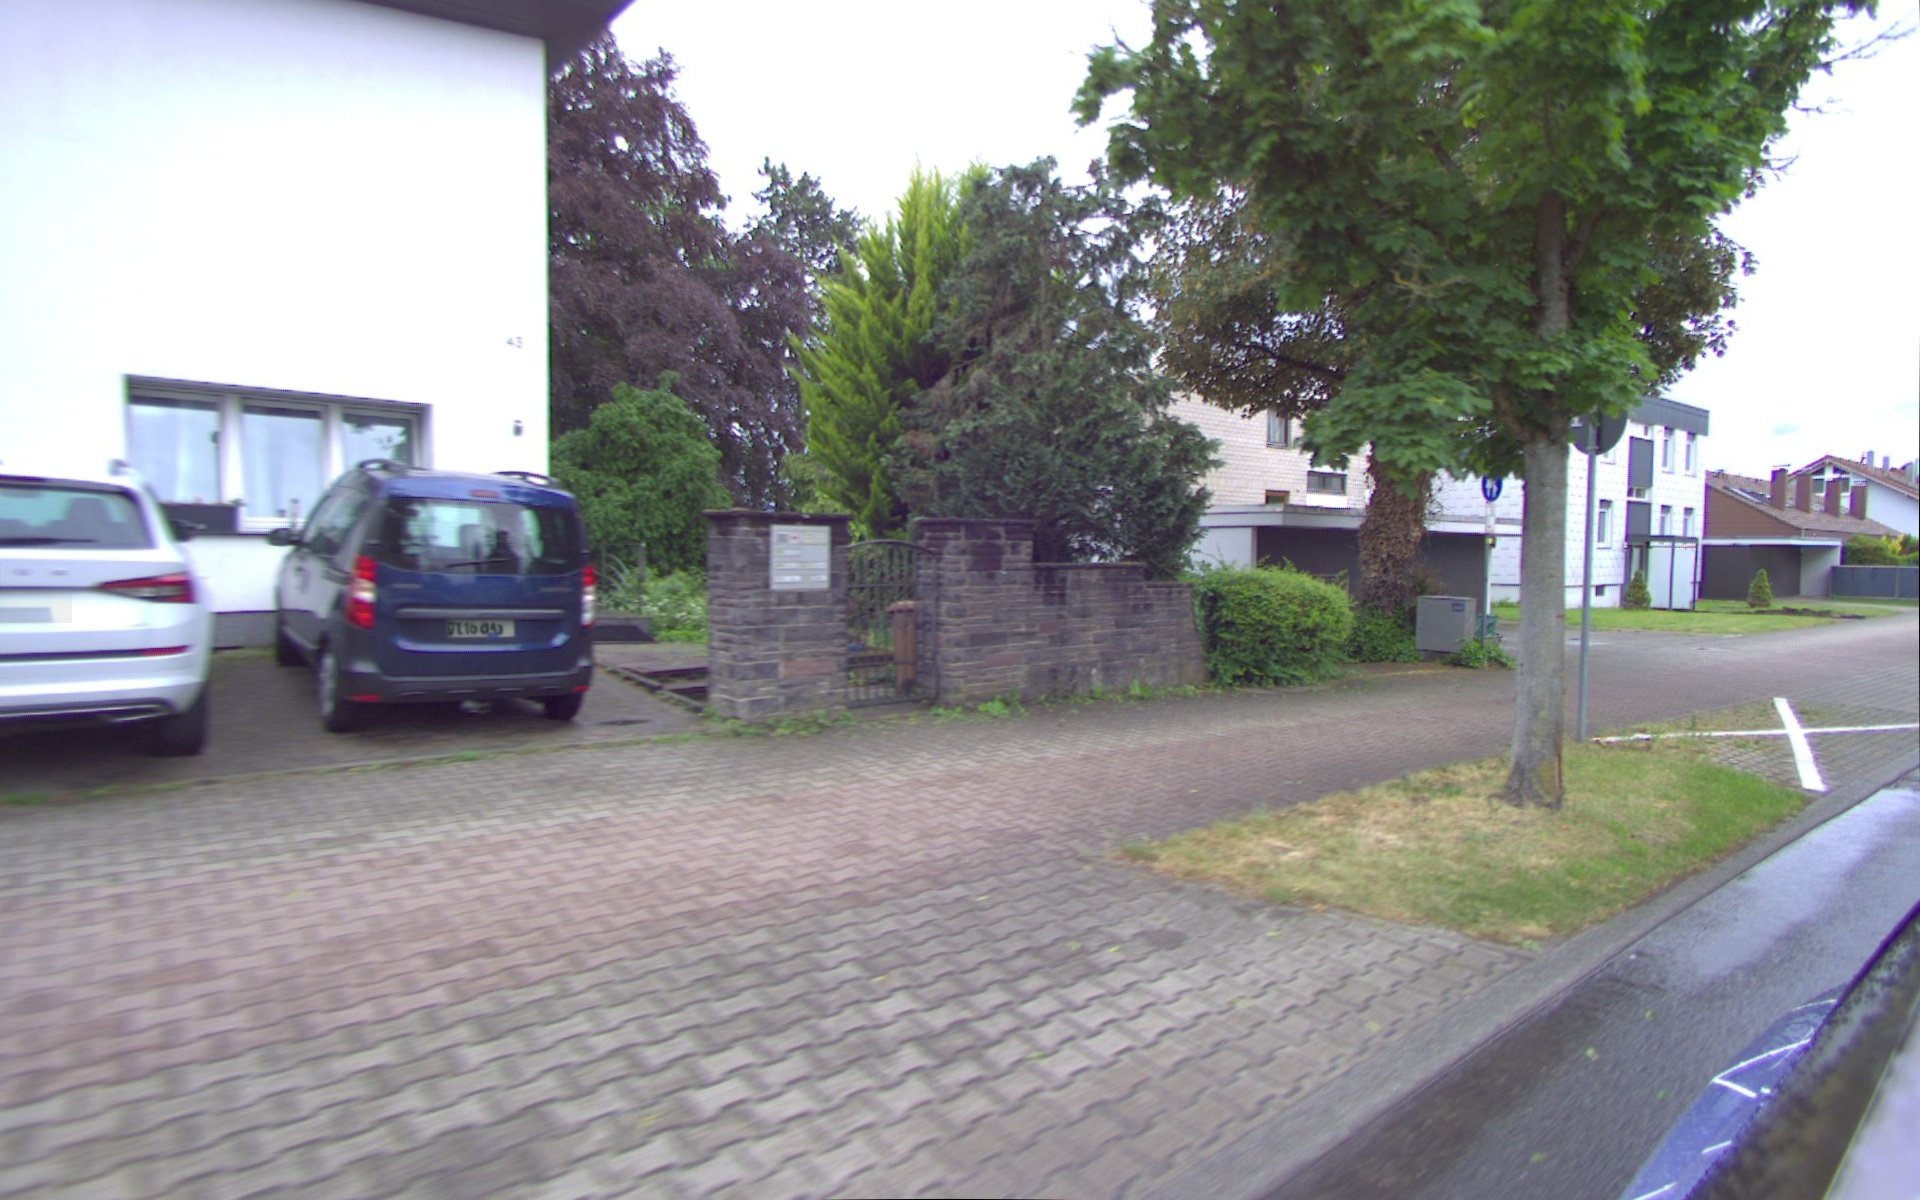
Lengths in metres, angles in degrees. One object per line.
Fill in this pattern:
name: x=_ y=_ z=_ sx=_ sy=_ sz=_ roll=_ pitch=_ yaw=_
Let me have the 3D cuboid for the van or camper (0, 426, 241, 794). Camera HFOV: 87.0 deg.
van or camper: x=-5.824 y=-0.111 z=6.069 sx=2.086 sy=1.697 sz=3.997 roll=0 pitch=4 yaw=-41

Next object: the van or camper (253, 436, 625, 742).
van or camper: x=-4.389 y=-0.222 z=8.161 sx=1.912 sy=1.809 sz=4.027 roll=0 pitch=4 yaw=-38

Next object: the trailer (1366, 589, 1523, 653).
trailer: x=8.596 y=0.339 z=18.058 sx=1.246 sy=0.970 sz=2.183 roll=0 pitch=3 yaw=-35
